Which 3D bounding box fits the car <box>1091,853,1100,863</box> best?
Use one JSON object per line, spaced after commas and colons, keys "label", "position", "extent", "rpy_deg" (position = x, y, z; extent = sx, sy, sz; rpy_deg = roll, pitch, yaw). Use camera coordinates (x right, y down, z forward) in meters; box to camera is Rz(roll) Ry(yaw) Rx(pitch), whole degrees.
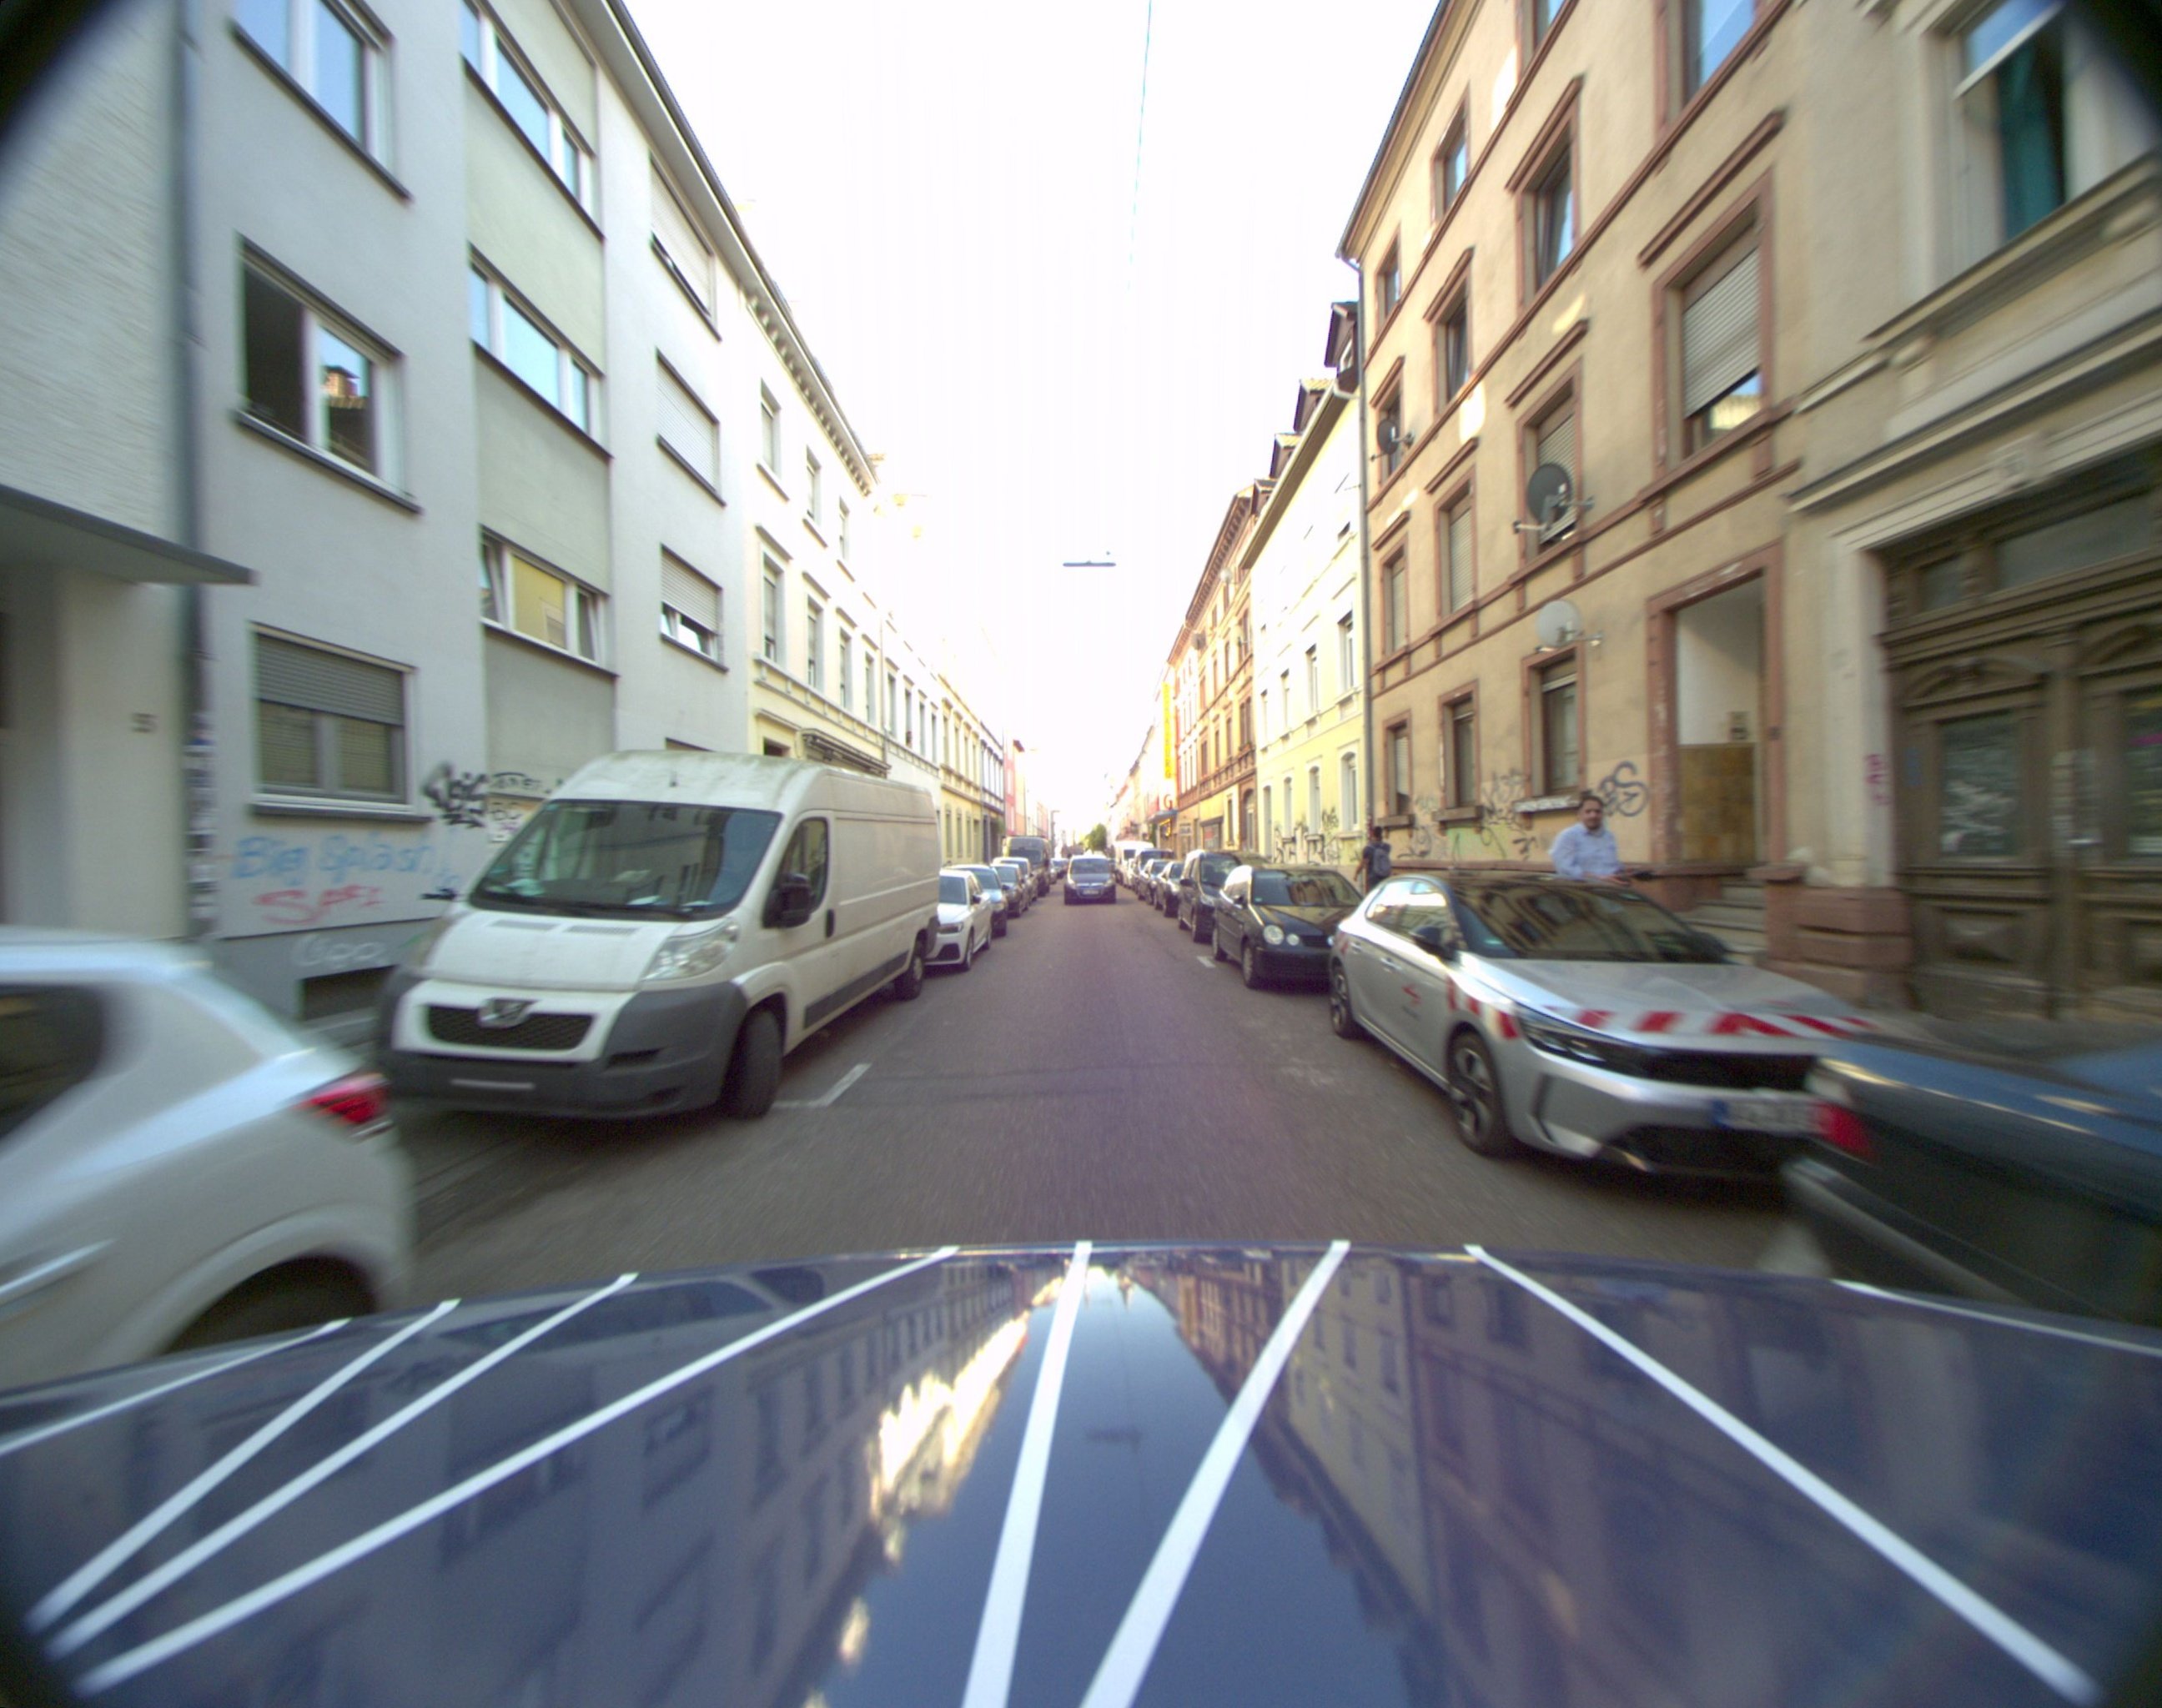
{"label": "car", "position": [2.897, 0.864, 155.061], "extent": [1.683, 1.851, 4.159], "rpy_deg": [-3, 0, 0]}

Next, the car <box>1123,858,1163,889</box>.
{"label": "car", "position": [3.026, 0.944, 37.709], "extent": [1.683, 1.381, 3.860], "rpy_deg": [-1, 0, 1]}

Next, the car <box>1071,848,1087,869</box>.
{"label": "car", "position": [-0.301, 0.783, 129.045], "extent": [2.437, 3.404, 5.543], "rpy_deg": [-3, 0, 0]}

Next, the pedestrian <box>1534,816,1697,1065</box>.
{"label": "pedestrian", "position": [4.149, 0.648, 5.946], "extent": [0.790, 1.820, 0.594], "rpy_deg": [-3, 1, 1]}

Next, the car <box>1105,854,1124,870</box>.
{"label": "car", "position": [3.107, 0.723, 71.113], "extent": [1.683, 1.381, 3.860], "rpy_deg": [-1, 0, 1]}

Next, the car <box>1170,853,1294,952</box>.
{"label": "car", "position": [2.823, 0.830, 14.976], "extent": [1.683, 1.674, 3.860], "rpy_deg": [-1, 0, 1]}

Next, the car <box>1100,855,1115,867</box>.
{"label": "car", "position": [3.164, 0.842, 90.279], "extent": [1.683, 1.381, 3.860], "rpy_deg": [-1, 0, 1]}

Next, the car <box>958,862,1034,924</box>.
{"label": "car", "position": [-2.352, 1.038, 21.834], "extent": [1.683, 1.511, 3.860], "rpy_deg": [-3, 0, 0]}

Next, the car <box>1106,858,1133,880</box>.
{"label": "car", "position": [2.587, 1.008, 51.788], "extent": [1.683, 1.381, 3.860], "rpy_deg": [-1, 0, 1]}

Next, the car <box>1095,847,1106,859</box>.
{"label": "car", "position": [4.909, -0.219, 194.322], "extent": [2.565, 3.029, 7.061], "rpy_deg": [-3, 0, 0]}

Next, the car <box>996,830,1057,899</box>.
{"label": "car", "position": [-2.258, 0.416, 33.286], "extent": [2.050, 2.662, 6.185], "rpy_deg": [-3, 0, 1]}

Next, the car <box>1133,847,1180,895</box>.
{"label": "car", "position": [3.166, 0.678, 32.624], "extent": [1.751, 1.880, 4.772], "rpy_deg": [-1, 0, 3]}

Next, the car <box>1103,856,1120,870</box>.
{"label": "car", "position": [3.165, 0.975, 80.077], "extent": [1.683, 1.381, 3.860], "rpy_deg": [-1, 0, 1]}

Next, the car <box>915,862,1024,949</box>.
{"label": "car", "position": [-2.318, 1.016, 16.670], "extent": [1.683, 1.556, 3.860], "rpy_deg": [-3, 0, 1]}

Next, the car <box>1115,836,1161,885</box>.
{"label": "car", "position": [3.201, 0.341, 43.747], "extent": [2.094, 2.576, 5.842], "rpy_deg": [-1, 0, 0]}

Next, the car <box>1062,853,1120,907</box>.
{"label": "car", "position": [0.308, 0.826, 26.921], "extent": [1.798, 1.652, 5.184], "rpy_deg": [-2, 0, 0]}

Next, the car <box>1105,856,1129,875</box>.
{"label": "car", "position": [2.715, 0.874, 58.084], "extent": [1.683, 1.381, 3.860], "rpy_deg": [-1, 0, 1]}

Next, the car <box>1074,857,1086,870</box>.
{"label": "car", "position": [-0.132, 1.514, 122.235], "extent": [1.683, 2.077, 4.159], "rpy_deg": [-3, 0, 0]}

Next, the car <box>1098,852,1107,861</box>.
{"label": "car", "position": [4.605, 0.439, 164.233], "extent": [1.683, 1.851, 4.159], "rpy_deg": [-3, 0, 0]}

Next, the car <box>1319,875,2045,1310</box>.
{"label": "car", "position": [2.791, 0.933, 4.725], "extent": [1.683, 1.454, 3.861], "rpy_deg": [-1, 0, 5]}

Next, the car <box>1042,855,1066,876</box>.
{"label": "car", "position": [-2.155, 0.881, 60.612], "extent": [1.683, 1.588, 3.860], "rpy_deg": [-3, 0, 0]}

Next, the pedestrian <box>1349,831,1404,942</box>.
{"label": "pedestrian", "position": [5.008, 0.537, 12.910], "extent": [0.626, 1.820, 0.594], "rpy_deg": [-3, 1, 1]}

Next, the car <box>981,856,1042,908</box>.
{"label": "car", "position": [-2.406, 0.934, 27.118], "extent": [1.683, 1.625, 3.860], "rpy_deg": [-3, 0, 0]}

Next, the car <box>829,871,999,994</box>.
{"label": "car", "position": [-2.380, 1.073, 11.843], "extent": [1.683, 1.434, 3.860], "rpy_deg": [-3, 0, 1]}

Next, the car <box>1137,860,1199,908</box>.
{"label": "car", "position": [2.879, 0.958, 25.714], "extent": [1.683, 1.407, 3.860], "rpy_deg": [-1, 0, 1]}

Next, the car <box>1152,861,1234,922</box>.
{"label": "car", "position": [2.942, 0.938, 20.631], "extent": [1.683, 1.448, 3.860], "rpy_deg": [-1, 0, 1]}

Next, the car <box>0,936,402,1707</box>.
{"label": "car", "position": [-2.658, 1.034, 0.101], "extent": [1.684, 1.550, 3.859], "rpy_deg": [-3, 0, -2]}

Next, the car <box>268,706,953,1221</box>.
{"label": "car", "position": [-2.875, 0.557, 6.813], "extent": [2.050, 2.498, 6.024], "rpy_deg": [-3, 0, 3]}

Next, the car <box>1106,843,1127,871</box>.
{"label": "car", "position": [3.006, 0.239, 65.063], "extent": [1.683, 2.352, 4.098], "rpy_deg": [-1, 0, 1]}

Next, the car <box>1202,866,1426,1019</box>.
{"label": "car", "position": [2.684, 0.933, 9.664], "extent": [1.683, 1.454, 3.860], "rpy_deg": [-1, 0, 1]}

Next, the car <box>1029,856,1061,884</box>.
{"label": "car", "position": [-2.229, 0.957, 47.786], "extent": [1.683, 1.588, 3.860], "rpy_deg": [-3, 0, 0]}
